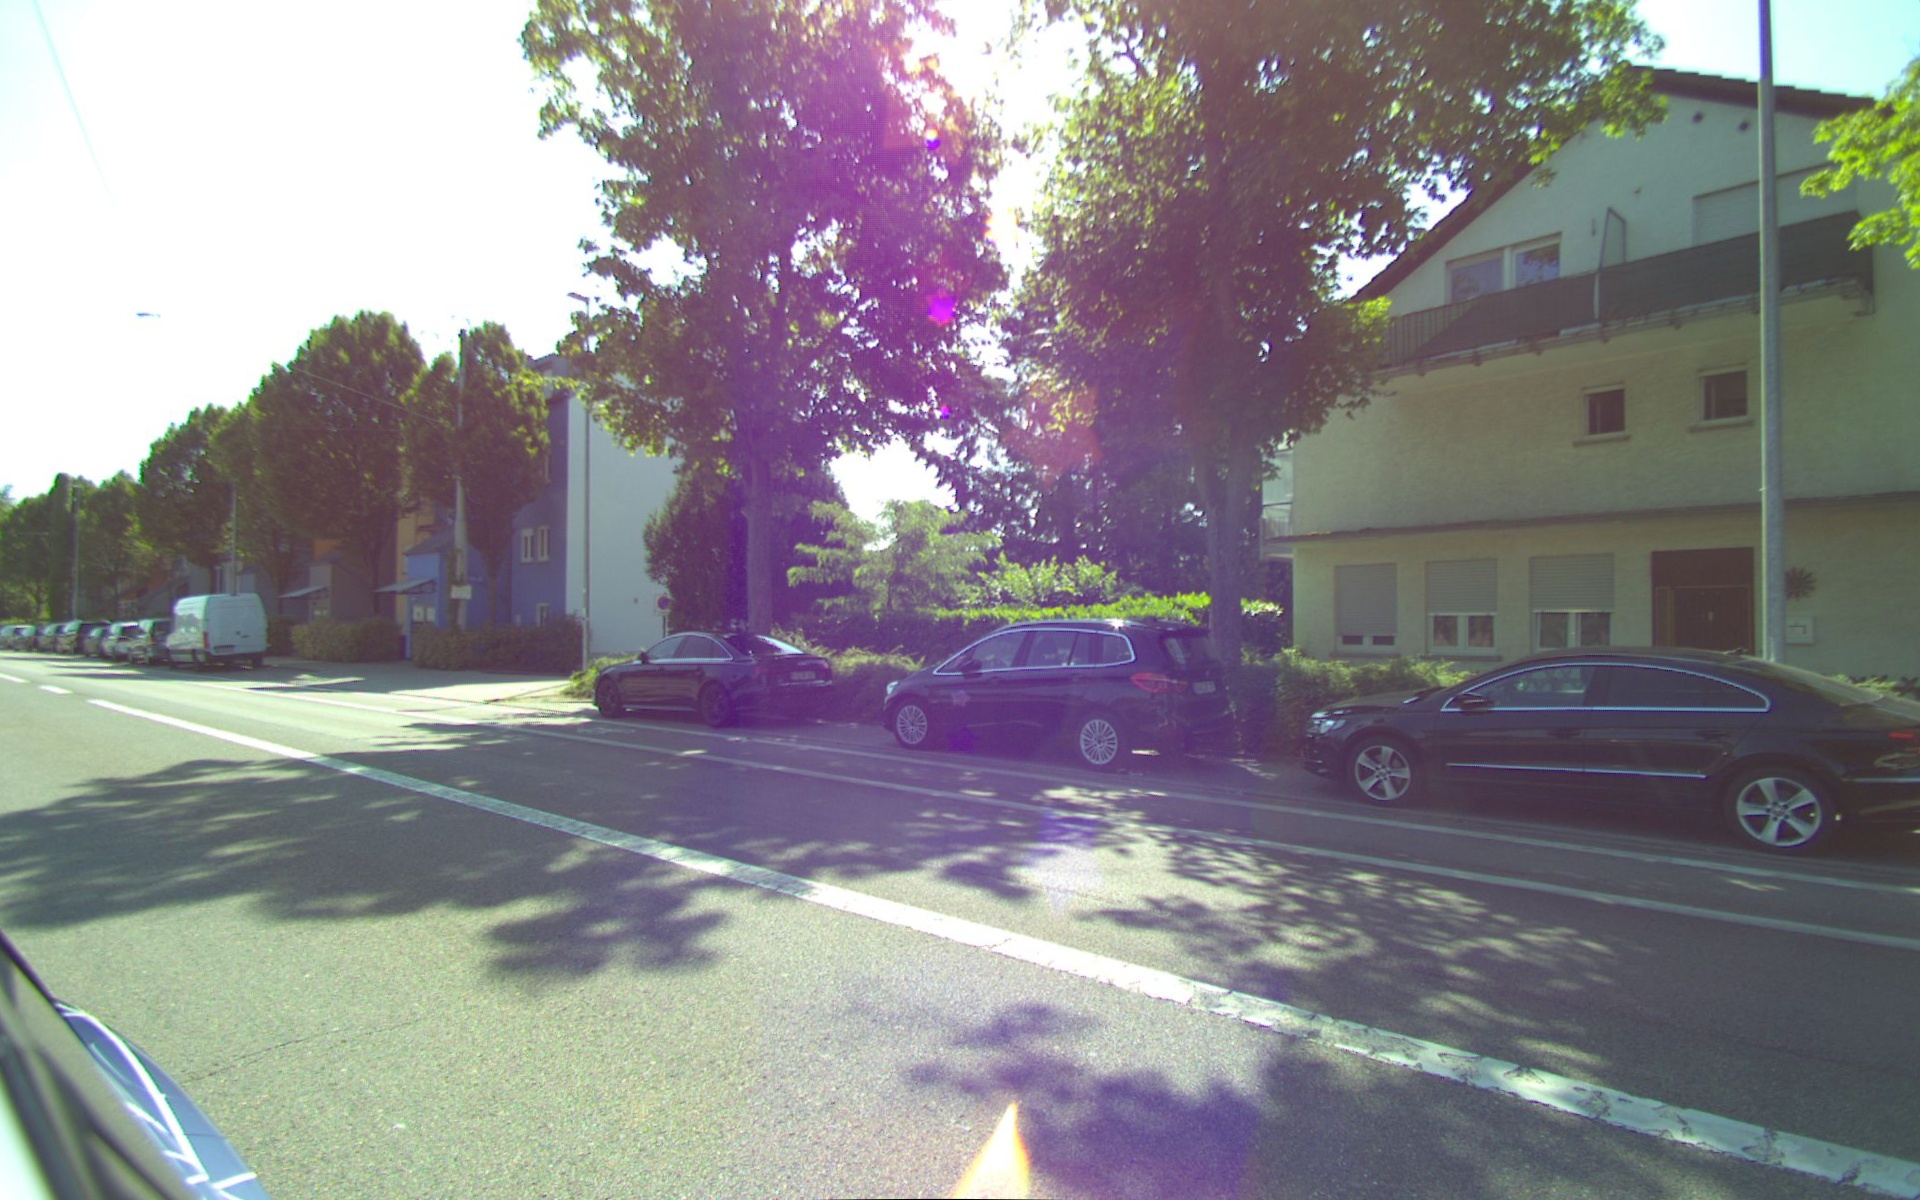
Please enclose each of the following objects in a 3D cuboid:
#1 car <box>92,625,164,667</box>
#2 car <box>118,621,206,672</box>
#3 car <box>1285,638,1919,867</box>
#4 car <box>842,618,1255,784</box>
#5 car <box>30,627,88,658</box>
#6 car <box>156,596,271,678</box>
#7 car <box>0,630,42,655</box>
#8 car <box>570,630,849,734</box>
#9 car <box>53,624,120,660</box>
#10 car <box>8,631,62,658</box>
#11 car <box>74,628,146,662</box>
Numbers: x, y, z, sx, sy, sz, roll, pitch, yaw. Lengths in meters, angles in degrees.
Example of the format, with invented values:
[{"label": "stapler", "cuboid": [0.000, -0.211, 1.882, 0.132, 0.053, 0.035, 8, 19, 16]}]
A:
[{"label": "car", "cuboid": [-37.991, 2.064, 46.174, 4.539, 1.715, 1.829, -1, 1, 42]}, {"label": "car", "cuboid": [-33.593, 1.918, 42.562, 4.964, 1.879, 1.973, -2, 2, 41]}, {"label": "car", "cuboid": [5.315, 1.044, 8.289, 4.779, 1.390, 1.673, -2, -1, 41]}, {"label": "car", "cuboid": [0.876, 1.053, 12.234, 4.891, 1.618, 1.743, -2, -1, 41]}, {"label": "car", "cuboid": [-49.935, 2.306, 56.074, 4.159, 1.619, 1.661, -1, -1, 38]}, {"label": "car", "cuboid": [-27.543, 1.321, 37.214, 7.084, 2.697, 1.973, -2, 1, 42]}, {"label": "car", "cuboid": [-60.069, 2.649, 64.186, 4.826, 1.457, 1.662, -1, -1, 35]}, {"label": "car", "cuboid": [-4.215, 1.235, 16.612, 4.903, 1.477, 1.822, -1, -2, 38]}, {"label": "car", "cuboid": [-45.764, 2.167, 53.004, 4.343, 1.741, 1.812, -1, 0, 38]}, {"label": "car", "cuboid": [-54.681, 2.585, 59.783, 4.207, 1.481, 1.661, -1, -1, 38]}, {"label": "car", "cuboid": [-41.641, 2.155, 49.566, 4.069, 1.466, 1.849, -1, 1, 38]}]
